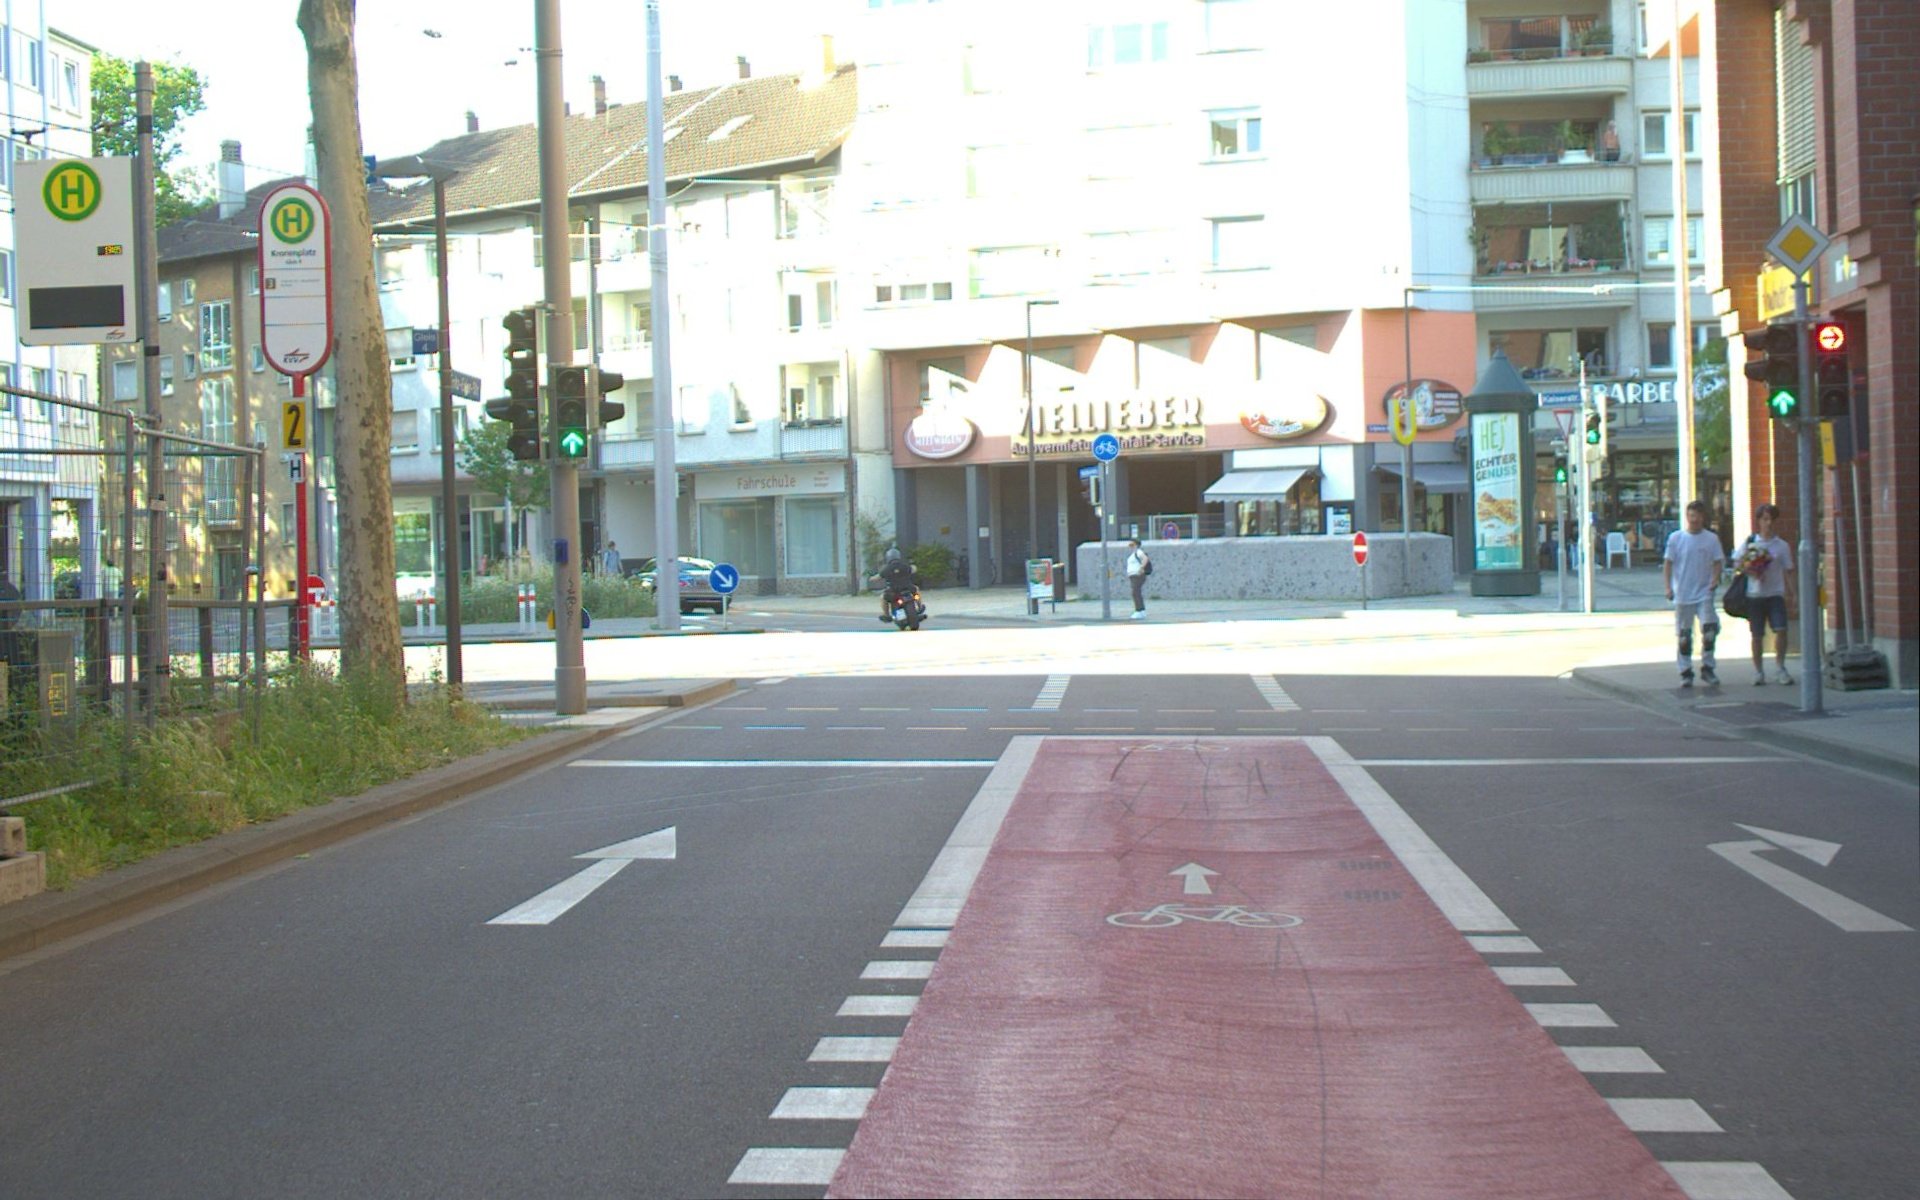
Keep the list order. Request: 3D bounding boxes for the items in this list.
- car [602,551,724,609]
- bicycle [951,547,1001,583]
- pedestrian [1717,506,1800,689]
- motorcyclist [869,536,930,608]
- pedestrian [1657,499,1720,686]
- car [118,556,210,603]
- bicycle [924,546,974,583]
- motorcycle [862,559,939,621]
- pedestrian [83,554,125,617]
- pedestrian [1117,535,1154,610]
[{"bbox_3d":[-7.506,-0.510,86.520,1.923,1.384,4.001,-2,1,-22],"label":"car"},{"bbox_3d":[0.464,-1.020,100.191,0.494,1.035,1.638,-2,1,-41],"label":"bicycle"},{"bbox_3d":[7.618,-0.030,32.832,0.633,1.719,0.630,-1,1,3],"label":"pedestrian"},{"bbox_3d":[-1.146,-0.539,64.805,0.970,1.342,1.138,0,1,-11],"label":"motorcyclist"},{"bbox_3d":[7.058,-0.073,33.313,0.476,1.786,0.541,-1,1,3],"label":"pedestrian"},{"bbox_3d":[-25.280,-0.657,109.304,1.833,1.381,4.596,-2,1,0],"label":"car"},{"bbox_3d":[-0.324,-1.030,99.827,0.494,1.035,1.638,-2,1,-41],"label":"bicycle"},{"bbox_3d":[-1.131,-0.206,64.826,0.973,1.128,2.806,0,1,-11],"label":"motorcycle"},{"bbox_3d":[-23.697,-0.389,95.184,0.805,1.718,0.776,-2,1,-45],"label":"pedestrian"},{"bbox_3d":[3.761,-0.584,73.696,0.539,1.578,0.557,-2,1,-40],"label":"pedestrian"}]
